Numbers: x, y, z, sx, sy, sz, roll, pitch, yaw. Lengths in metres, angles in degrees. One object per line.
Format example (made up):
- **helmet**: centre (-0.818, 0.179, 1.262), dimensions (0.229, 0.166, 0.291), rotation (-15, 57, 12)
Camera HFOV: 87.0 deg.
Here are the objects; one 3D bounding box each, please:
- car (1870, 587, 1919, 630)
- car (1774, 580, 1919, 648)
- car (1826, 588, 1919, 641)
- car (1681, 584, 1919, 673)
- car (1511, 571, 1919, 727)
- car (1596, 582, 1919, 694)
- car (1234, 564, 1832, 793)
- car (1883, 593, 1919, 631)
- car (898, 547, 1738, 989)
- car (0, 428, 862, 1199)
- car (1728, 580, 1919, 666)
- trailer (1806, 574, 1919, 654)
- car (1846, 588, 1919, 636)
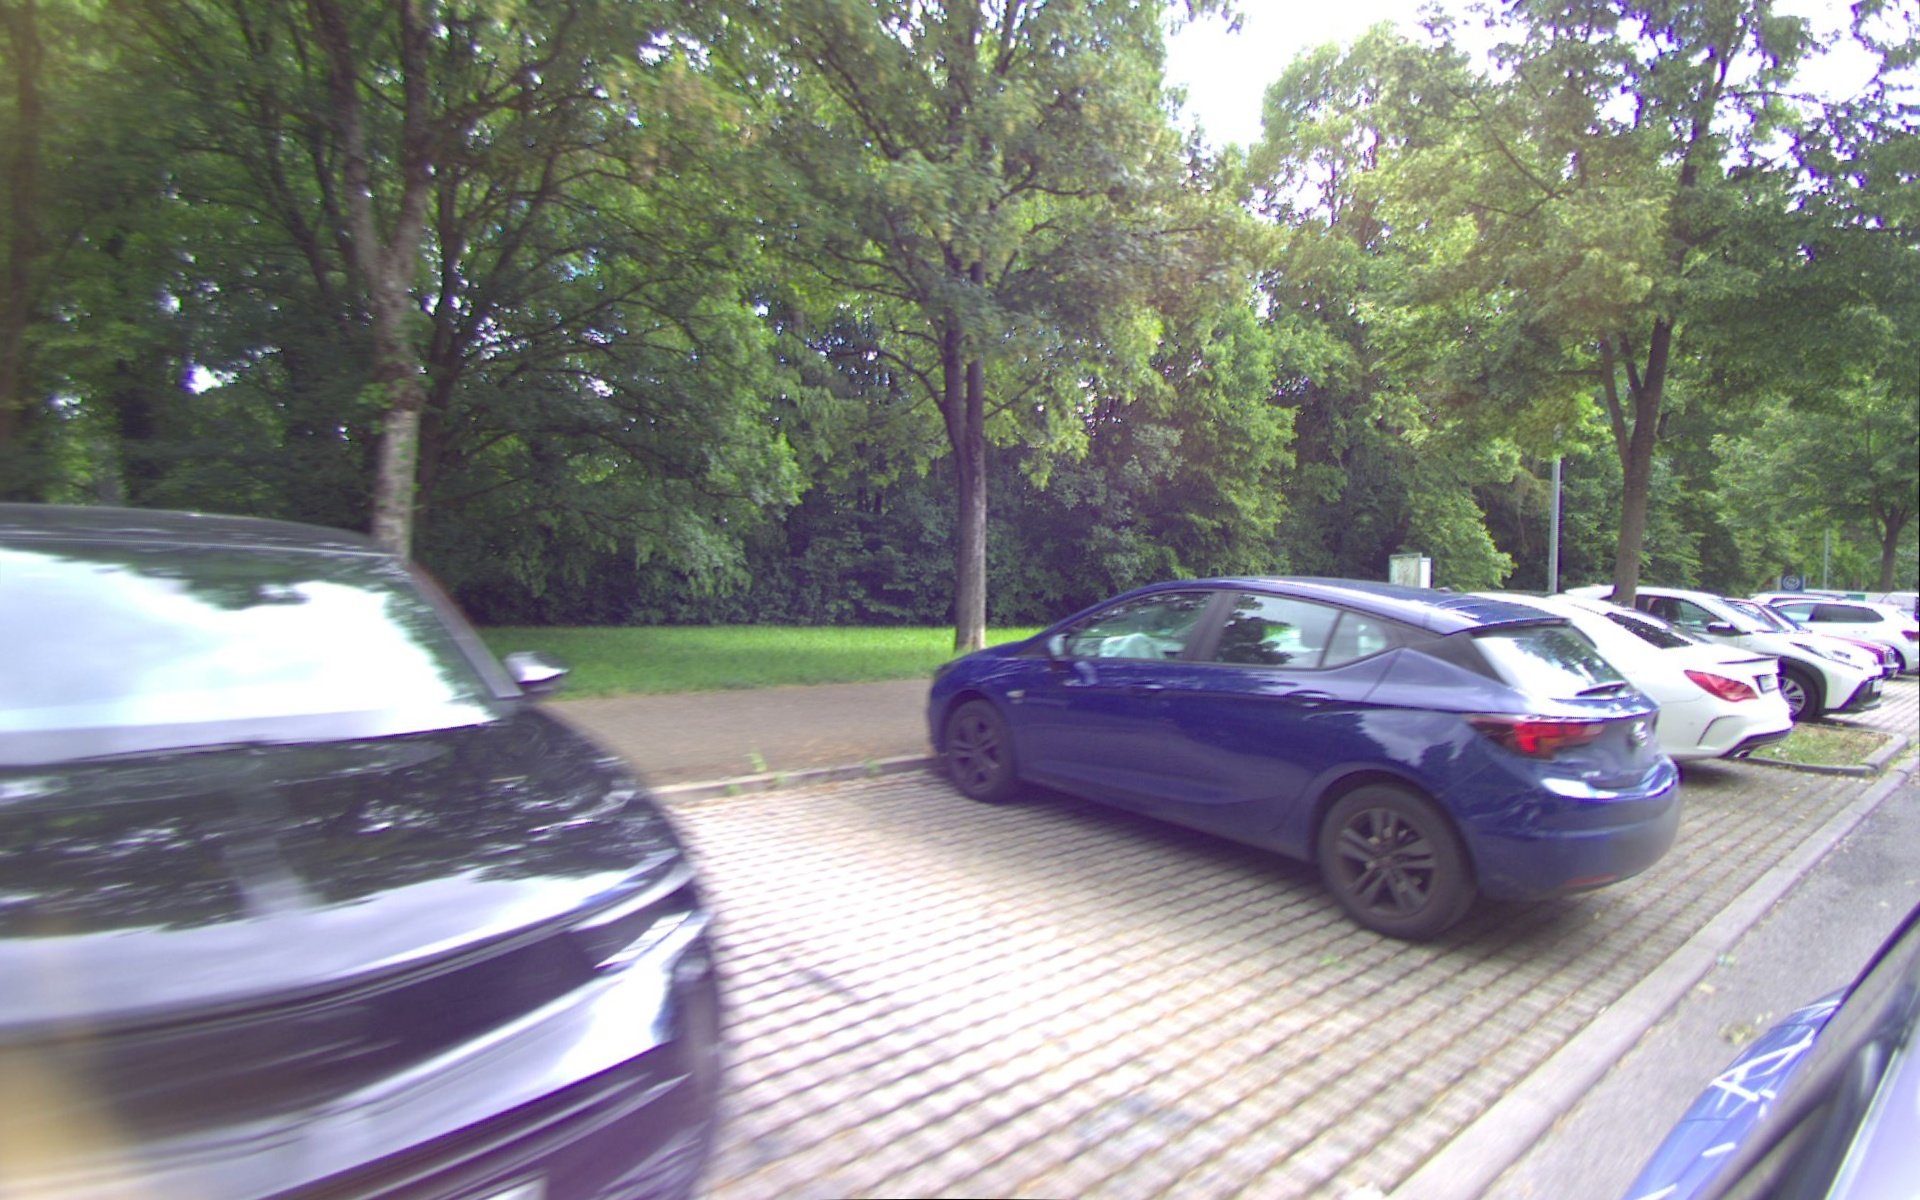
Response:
- **car**: centre (37.577, 0.382, 38.573), dimensions (1.755, 1.589, 4.141), rotation (0, 2, -42)
- **car**: centre (26.402, 0.409, 28.658), dimensions (1.938, 1.713, 4.833), rotation (0, 3, -37)
- **car**: centre (30.484, 0.487, 32.206), dimensions (1.818, 1.589, 4.169), rotation (0, 2, -39)
- **car**: centre (17.042, 0.505, 20.250), dimensions (4.010, 1.439, 1.764), rotation (5, 4, 44)
- **car**: centre (9.555, 0.492, 13.033), dimensions (1.846, 1.534, 3.852), rotation (0, 3, -38)
- **car**: centre (13.258, 0.523, 16.922), dimensions (1.786, 1.439, 4.062), rotation (0, 4, -42)
- **car**: centre (5.038, 0.498, 9.488), dimensions (1.814, 1.472, 4.496), rotation (0, 3, -41)
- **car**: centre (39.543, 0.541, 40.205), dimensions (1.755, 1.482, 4.092), rotation (0, 2, -42)
- **car**: centre (1.608, 0.511, 5.719), dimensions (1.818, 1.474, 4.083), rotation (0, 3, -40)
- **car**: centre (-2.268, 0.460, 2.711), dimensions (1.821, 1.535, 4.077), rotation (0, 4, -44)
- **car**: centre (19.086, 0.456, 21.515), dimensions (1.830, 1.566, 4.118), rotation (0, 4, -43)
- **trailer**: centre (22.982, 0.345, 24.955), dimensions (1.537, 1.812, 3.034), rotation (0, 3, -43)
- **car**: centre (33.887, 0.462, 35.443), dimensions (1.757, 1.589, 4.162), rotation (0, 2, -45)
